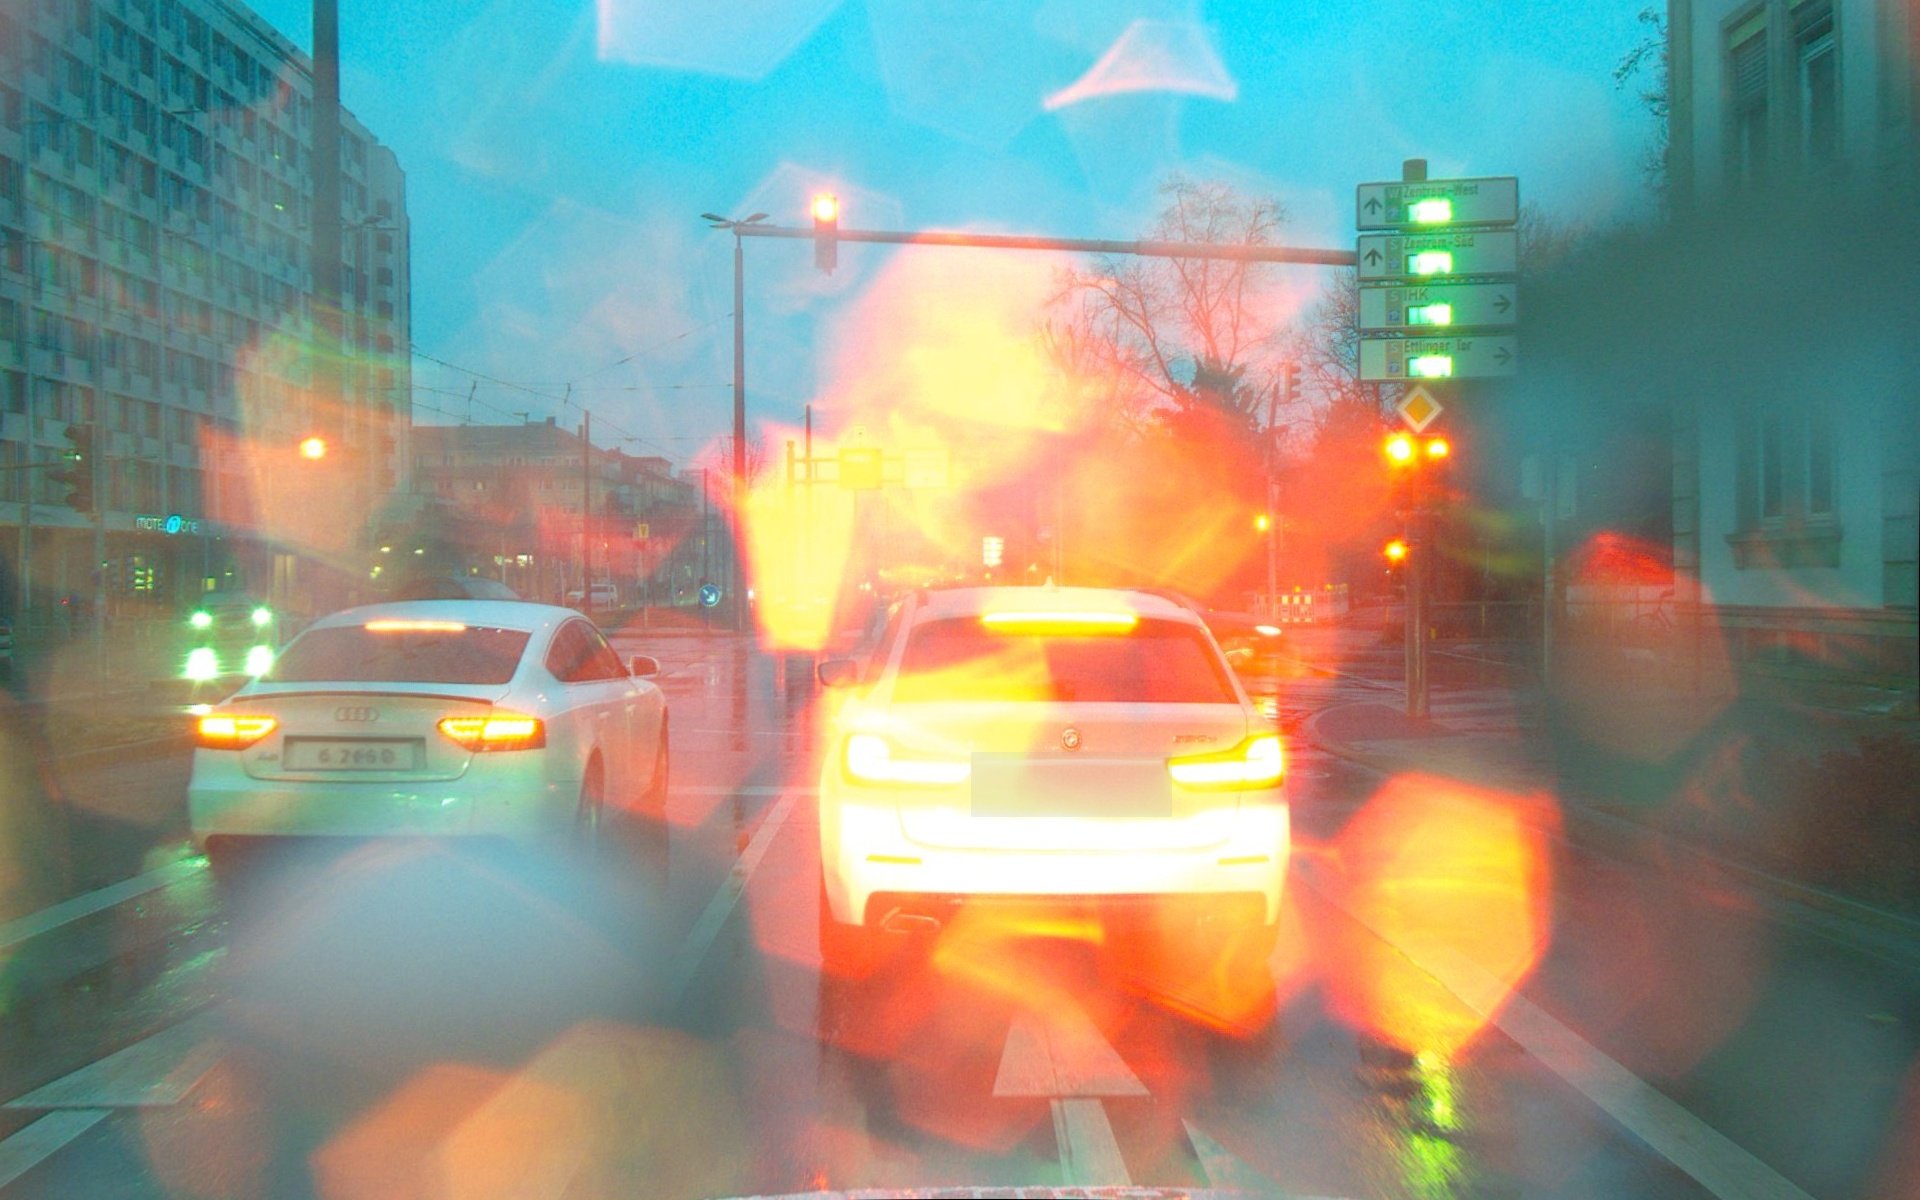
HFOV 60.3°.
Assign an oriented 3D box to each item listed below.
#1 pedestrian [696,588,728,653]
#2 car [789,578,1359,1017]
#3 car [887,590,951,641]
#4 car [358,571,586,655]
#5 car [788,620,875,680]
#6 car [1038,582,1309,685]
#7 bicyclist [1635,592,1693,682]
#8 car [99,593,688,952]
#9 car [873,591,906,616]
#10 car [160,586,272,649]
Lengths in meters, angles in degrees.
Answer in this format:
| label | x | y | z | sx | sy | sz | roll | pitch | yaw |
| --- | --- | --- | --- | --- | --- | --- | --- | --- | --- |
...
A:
| label | x | y | z | sx | sy | sz | roll | pitch | yaw |
| --- | --- | --- | --- | --- | --- | --- | --- | --- | --- |
| pedestrian | -7.304 | 0.614 | 48.738 | 0.886 | 1.888 | 0.810 | 1 | -1 | -10 |
| car | 0.296 | 0.642 | 7.827 | 1.954 | 1.481 | 4.366 | 0 | 1 | -3 |
| car | -1.424 | 0.505 | 56.060 | 1.808 | 1.637 | 3.939 | 1 | 0 | -6 |
| car | -10.620 | 0.279 | 36.002 | 4.601 | 1.750 | 1.901 | 0 | -1 | 23 |
| car | -3.703 | 1.435 | 48.401 | 1.804 | 1.637 | 3.947 | 1 | 0 | 6 |
| car | 3.881 | 0.582 | 29.948 | 4.598 | 1.750 | 1.869 | 0 | -1 | 19 |
| bicyclist | 14.294 | 0.752 | 33.610 | 0.951 | 1.789 | 0.814 | 1 | -1 | 14 |
| car | -2.757 | 0.719 | 9.209 | 1.954 | 1.481 | 4.366 | 0 | 1 | -3 |
| car | -4.301 | 0.197 | 100.100 | 1.954 | 1.481 | 4.366 | 0 | 1 | -3 |
| car | -19.465 | 0.435 | 43.195 | 1.744 | 1.557 | 4.269 | 1 | -1 | -37 |
